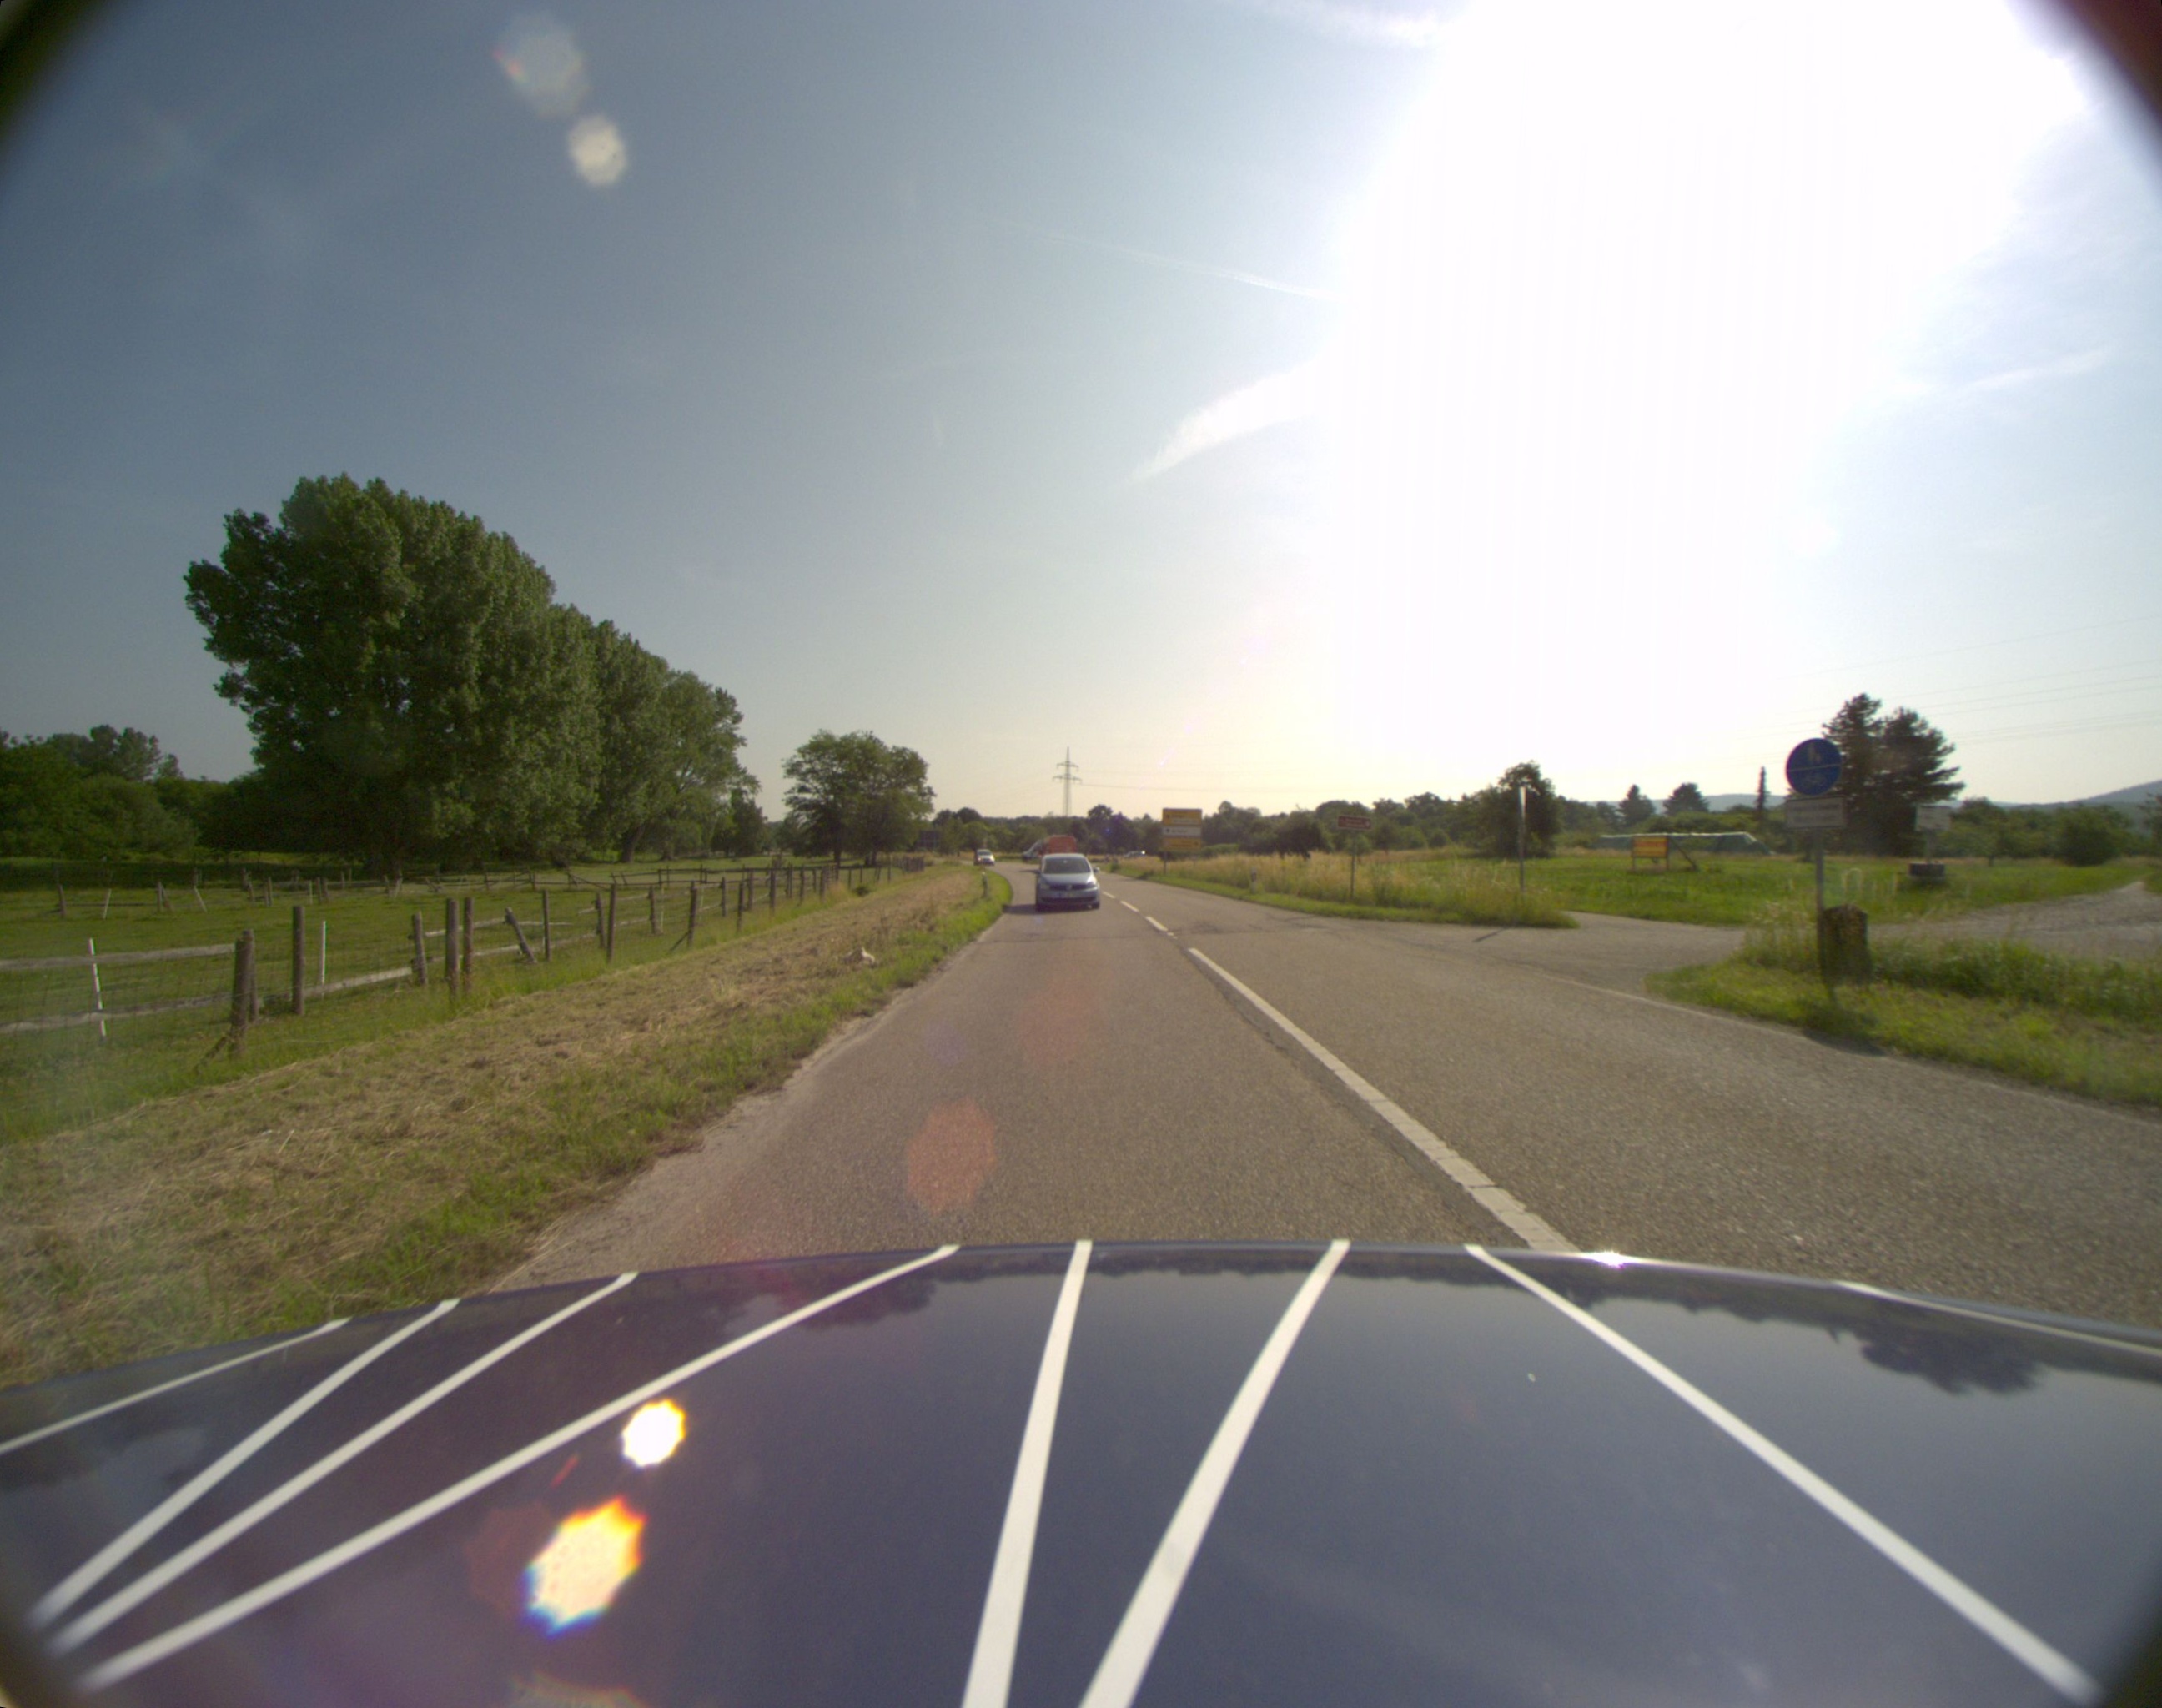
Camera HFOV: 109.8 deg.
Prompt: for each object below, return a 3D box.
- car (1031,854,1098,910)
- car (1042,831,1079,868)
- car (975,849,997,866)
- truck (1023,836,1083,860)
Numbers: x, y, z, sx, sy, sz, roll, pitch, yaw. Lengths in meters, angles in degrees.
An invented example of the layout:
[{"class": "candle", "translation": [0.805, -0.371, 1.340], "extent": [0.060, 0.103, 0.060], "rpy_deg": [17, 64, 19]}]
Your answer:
[{"class": "car", "translation": [-0.606, 0.786, 23.689], "extent": [1.719, 1.496, 4.091], "rpy_deg": [-2, 1, -6]}, {"class": "car", "translation": [-1.624, -0.383, 58.250], "extent": [2.131, 2.681, 5.262], "rpy_deg": [-1, 2, -10]}, {"class": "car", "translation": [-9.462, 0.340, 75.244], "extent": [2.000, 1.571, 3.905], "rpy_deg": [-1, 1, -9]}, {"class": "truck", "translation": [-3.628, -0.770, 97.545], "extent": [7.366, 3.028, 2.581], "rpy_deg": [-1, 1, -10]}]
